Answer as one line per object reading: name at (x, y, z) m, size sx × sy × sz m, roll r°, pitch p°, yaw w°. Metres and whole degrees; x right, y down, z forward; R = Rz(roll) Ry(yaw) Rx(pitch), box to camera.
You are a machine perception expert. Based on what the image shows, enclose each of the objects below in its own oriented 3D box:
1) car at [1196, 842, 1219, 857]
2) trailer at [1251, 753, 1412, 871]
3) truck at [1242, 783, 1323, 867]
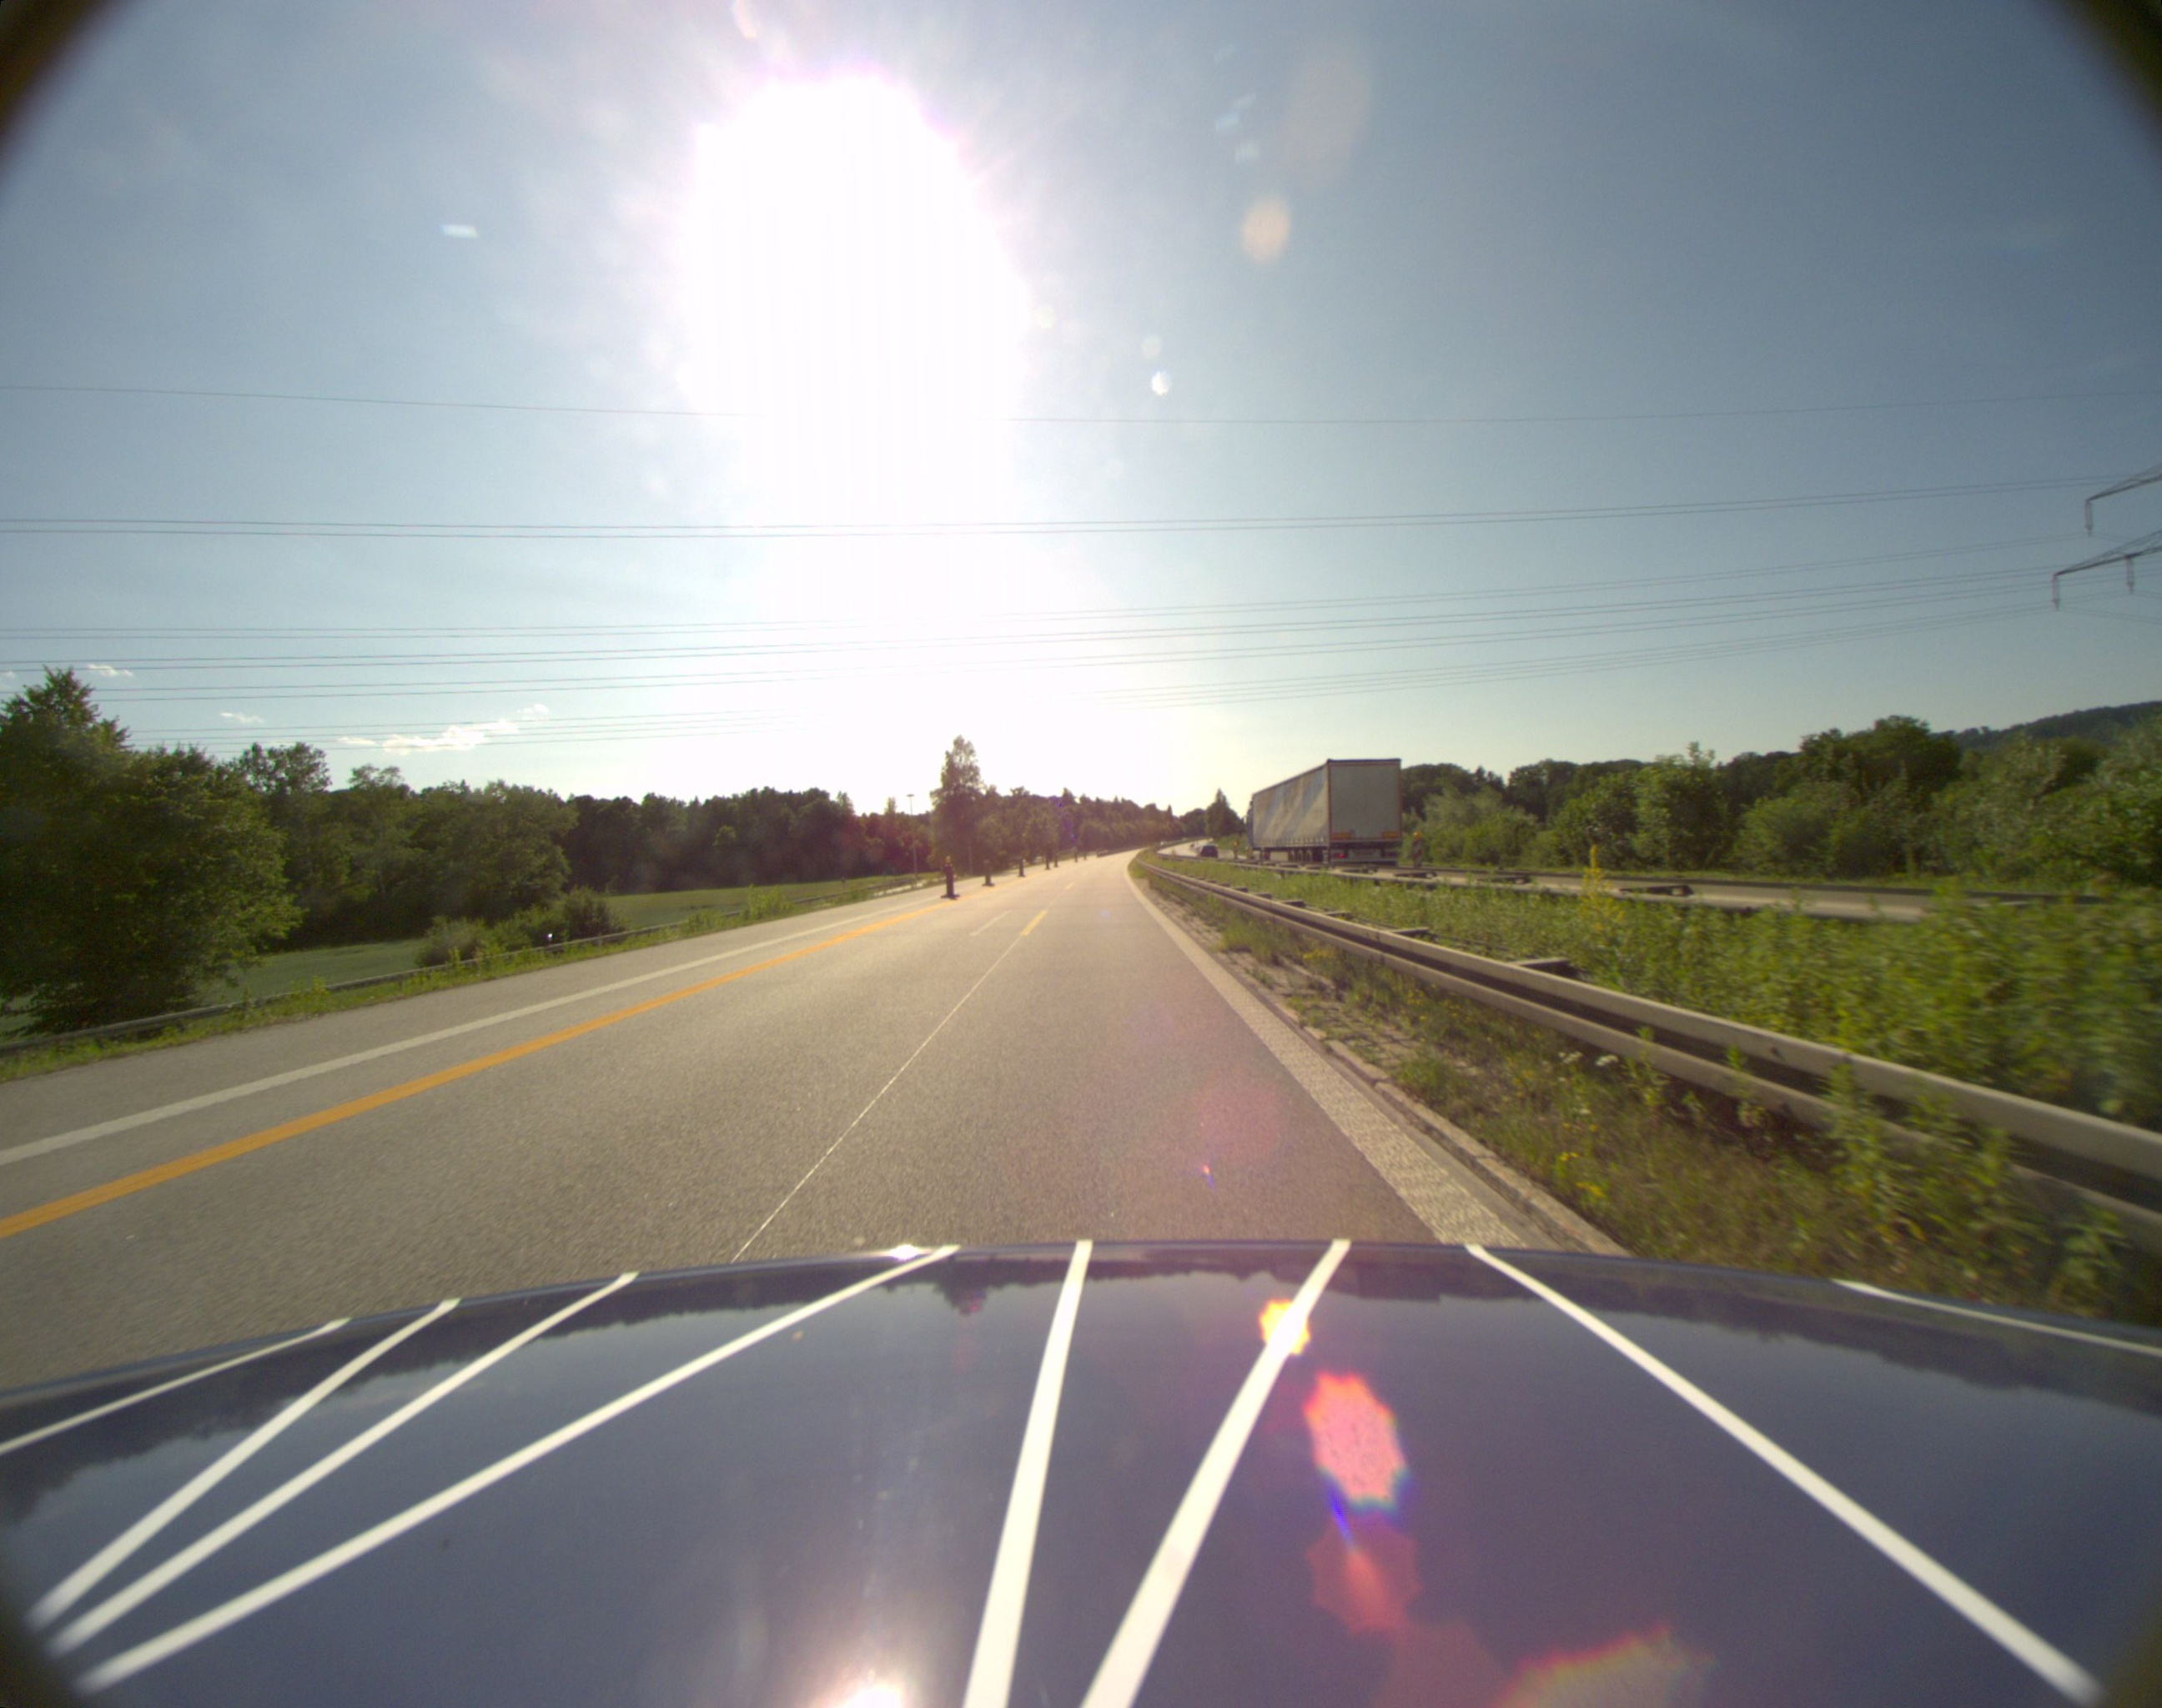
car at (12.449, -0.427, 74.997) m, size 1.781 × 1.421 × 4.269 m, roll -1°, pitch 1°, yaw 2°
trailer at (10.121, -1.423, 32.870) m, size 2.685 × 3.931 × 13.770 m, roll -2°, pitch 0°, yaw 2°
truck at (10.288, -1.420, 39.405) m, size 2.639 × 3.937 × 5.842 m, roll -2°, pitch 1°, yaw 2°
